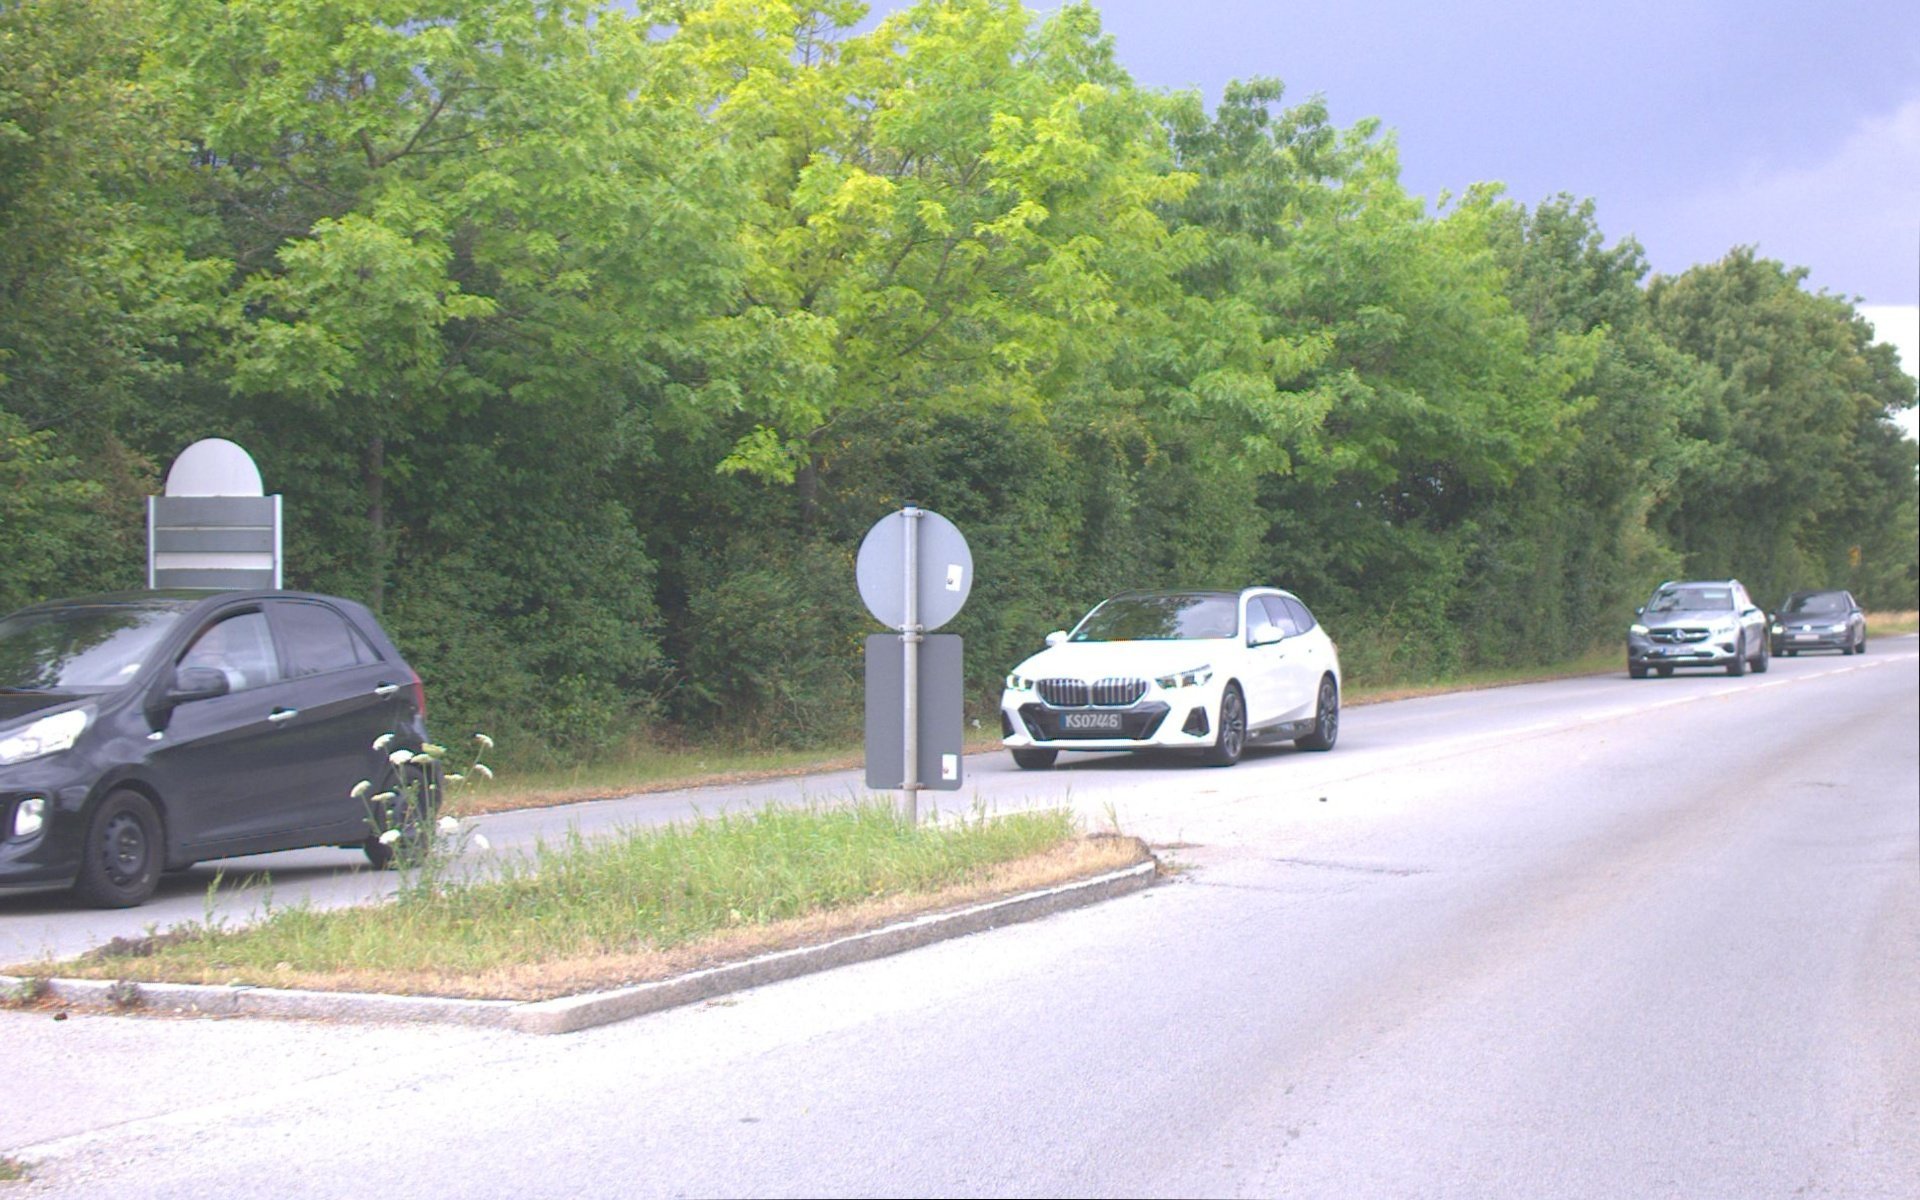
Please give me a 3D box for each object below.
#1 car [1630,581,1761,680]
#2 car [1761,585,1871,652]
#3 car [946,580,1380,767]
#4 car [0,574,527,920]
[{"bbox_3d":[12.646,0.528,58.943,1.995,1.596,4.661,-2,-1,14],"label":"car"},{"bbox_3d":[19.162,0.423,76.823,1.995,1.414,4.473,-2,-1,19],"label":"car"},{"bbox_3d":[1.879,0.580,29.844,2.216,1.449,4.937,-1,0,23],"label":"car"},{"bbox_3d":[-3.926,0.628,16.685,1.684,1.449,3.994,-2,0,26],"label":"car"}]
